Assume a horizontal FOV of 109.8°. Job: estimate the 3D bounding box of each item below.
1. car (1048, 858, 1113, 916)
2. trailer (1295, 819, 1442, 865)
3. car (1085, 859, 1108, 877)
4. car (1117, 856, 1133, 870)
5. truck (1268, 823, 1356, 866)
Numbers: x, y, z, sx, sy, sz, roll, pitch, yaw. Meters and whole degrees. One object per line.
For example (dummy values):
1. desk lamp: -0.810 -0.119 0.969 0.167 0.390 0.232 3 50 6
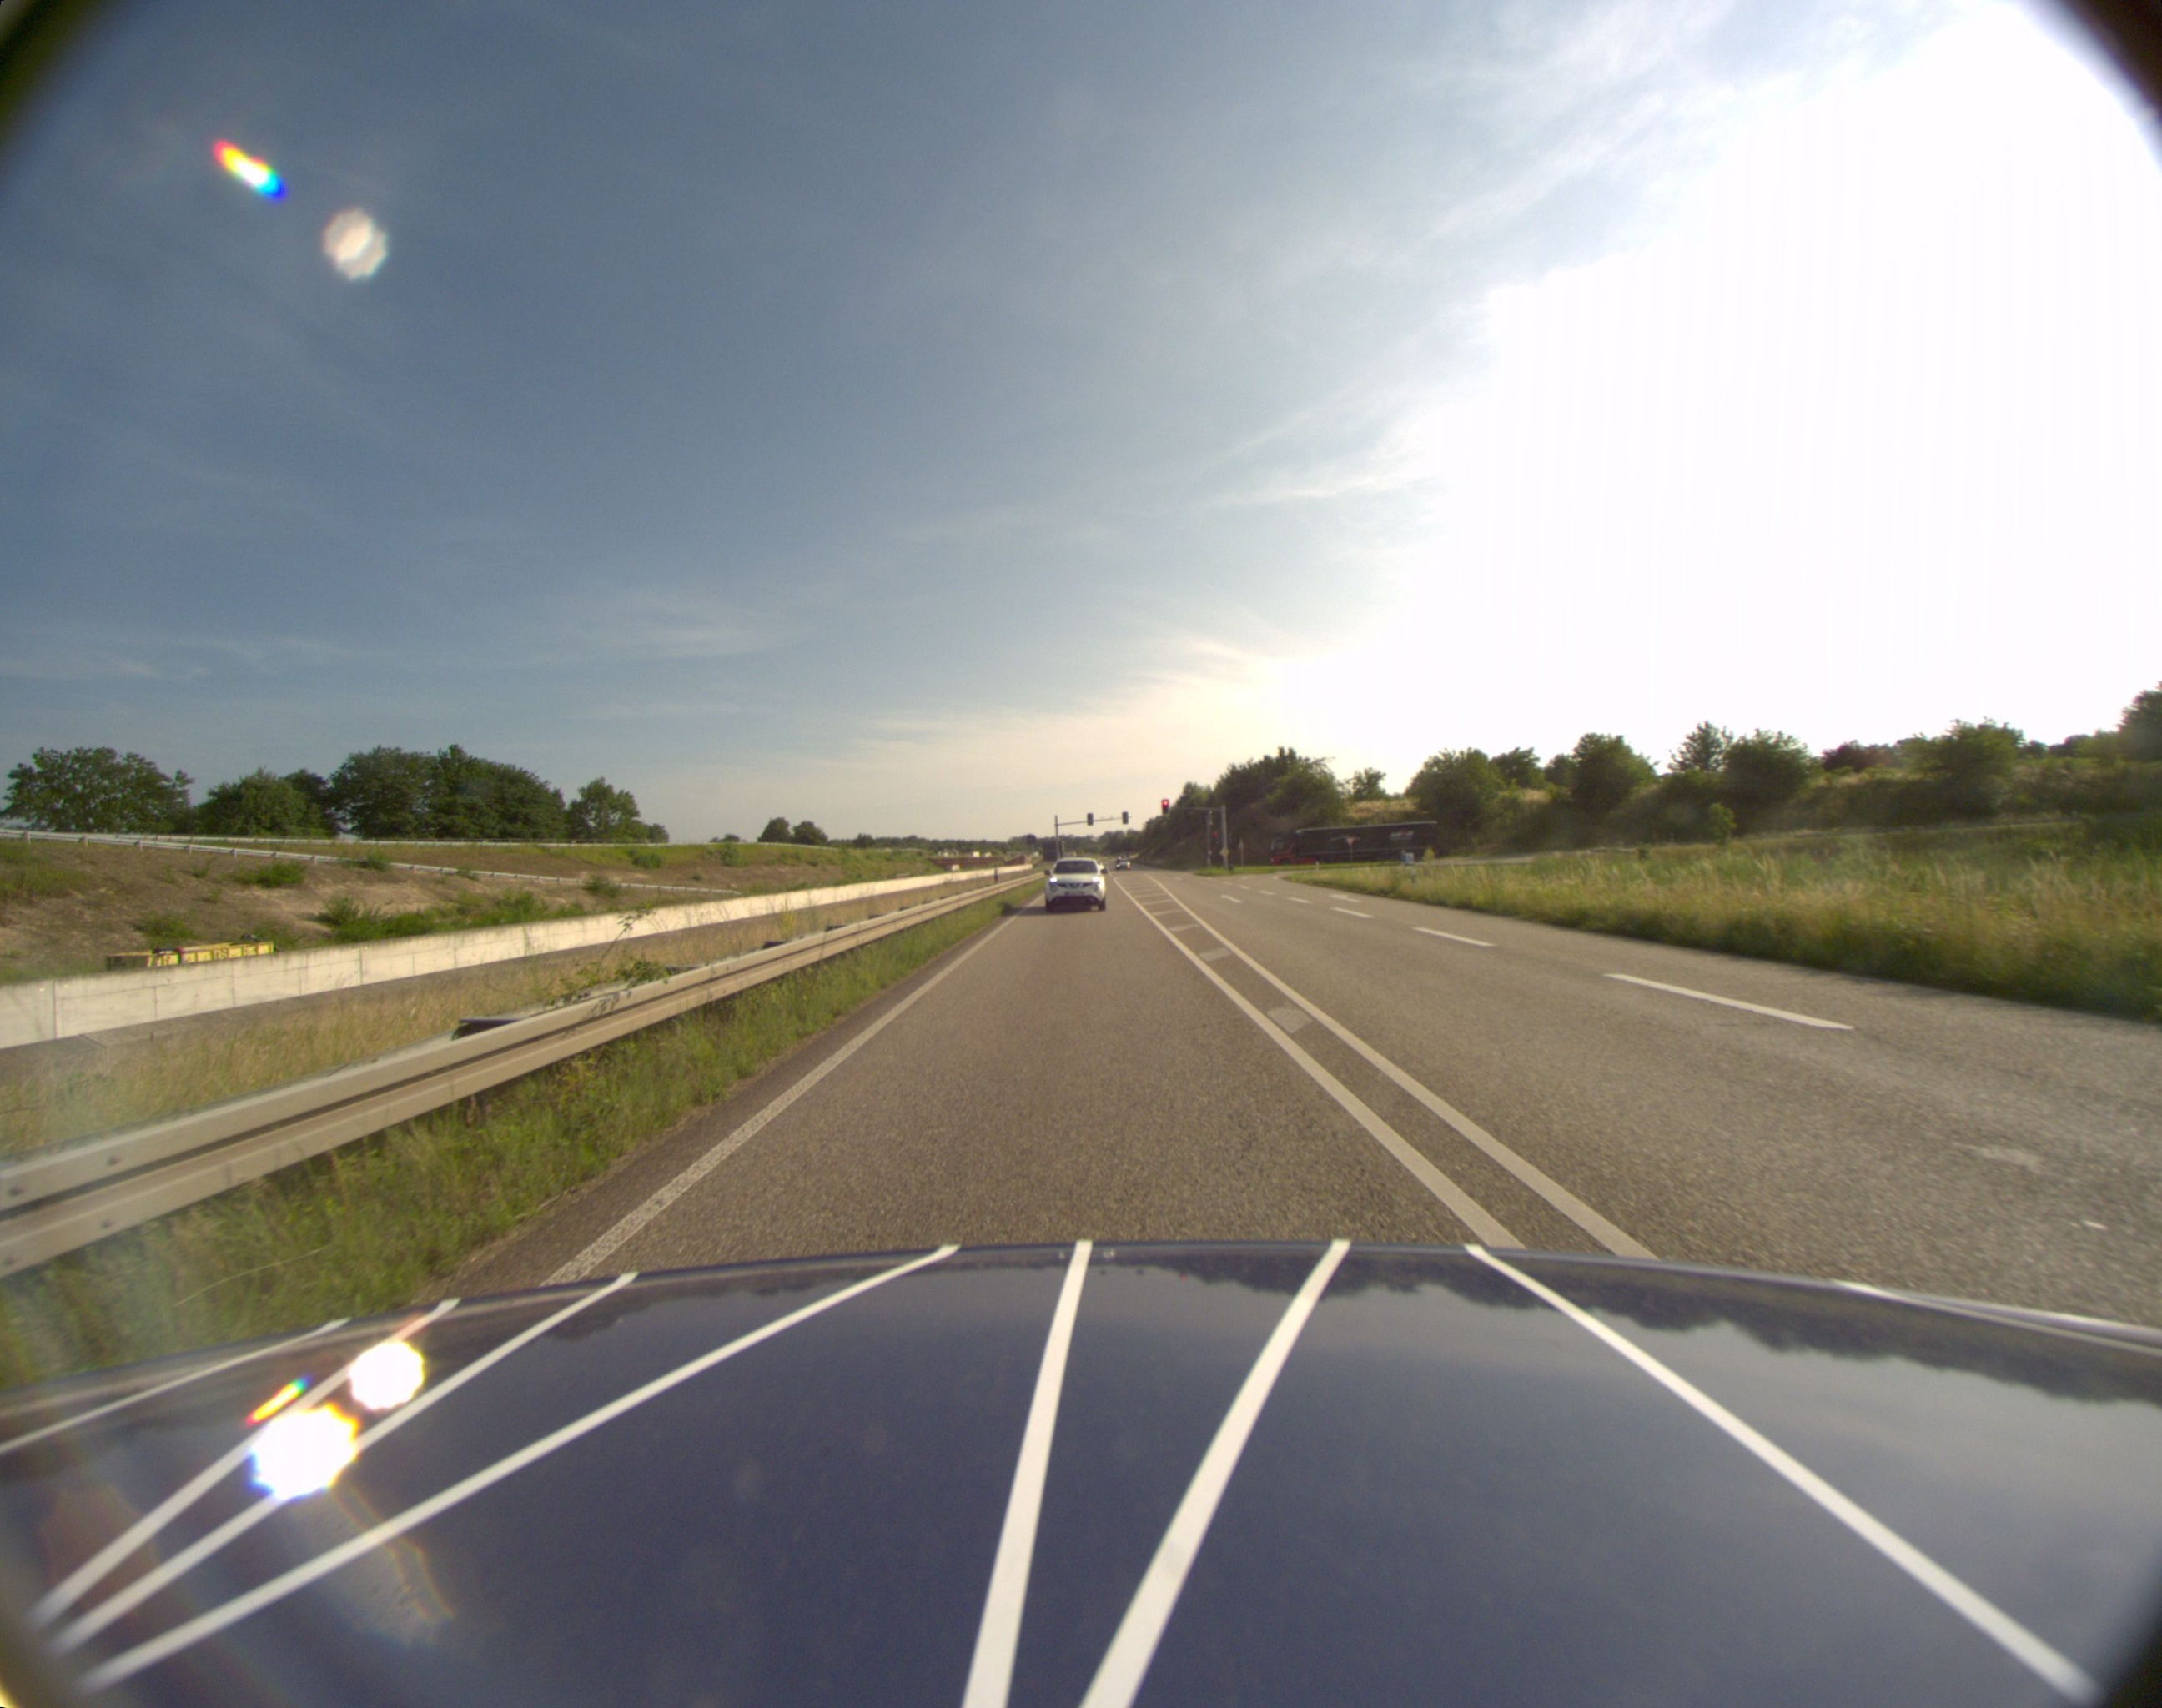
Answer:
1. car: -0.120 0.941 23.545 1.789 1.592 4.571 -1 0 -3
2. trailer: 29.664 -1.179 79.181 13.777 4.089 3.562 -2 0 11
3. car: 1.394 1.228 68.802 1.908 1.512 4.465 -2 0 -1
4. car: 5.828 1.166 100.106 1.998 1.602 4.199 -2 0 5
5. truck: 24.210 -0.961 80.192 8.388 4.089 3.562 -2 0 11
